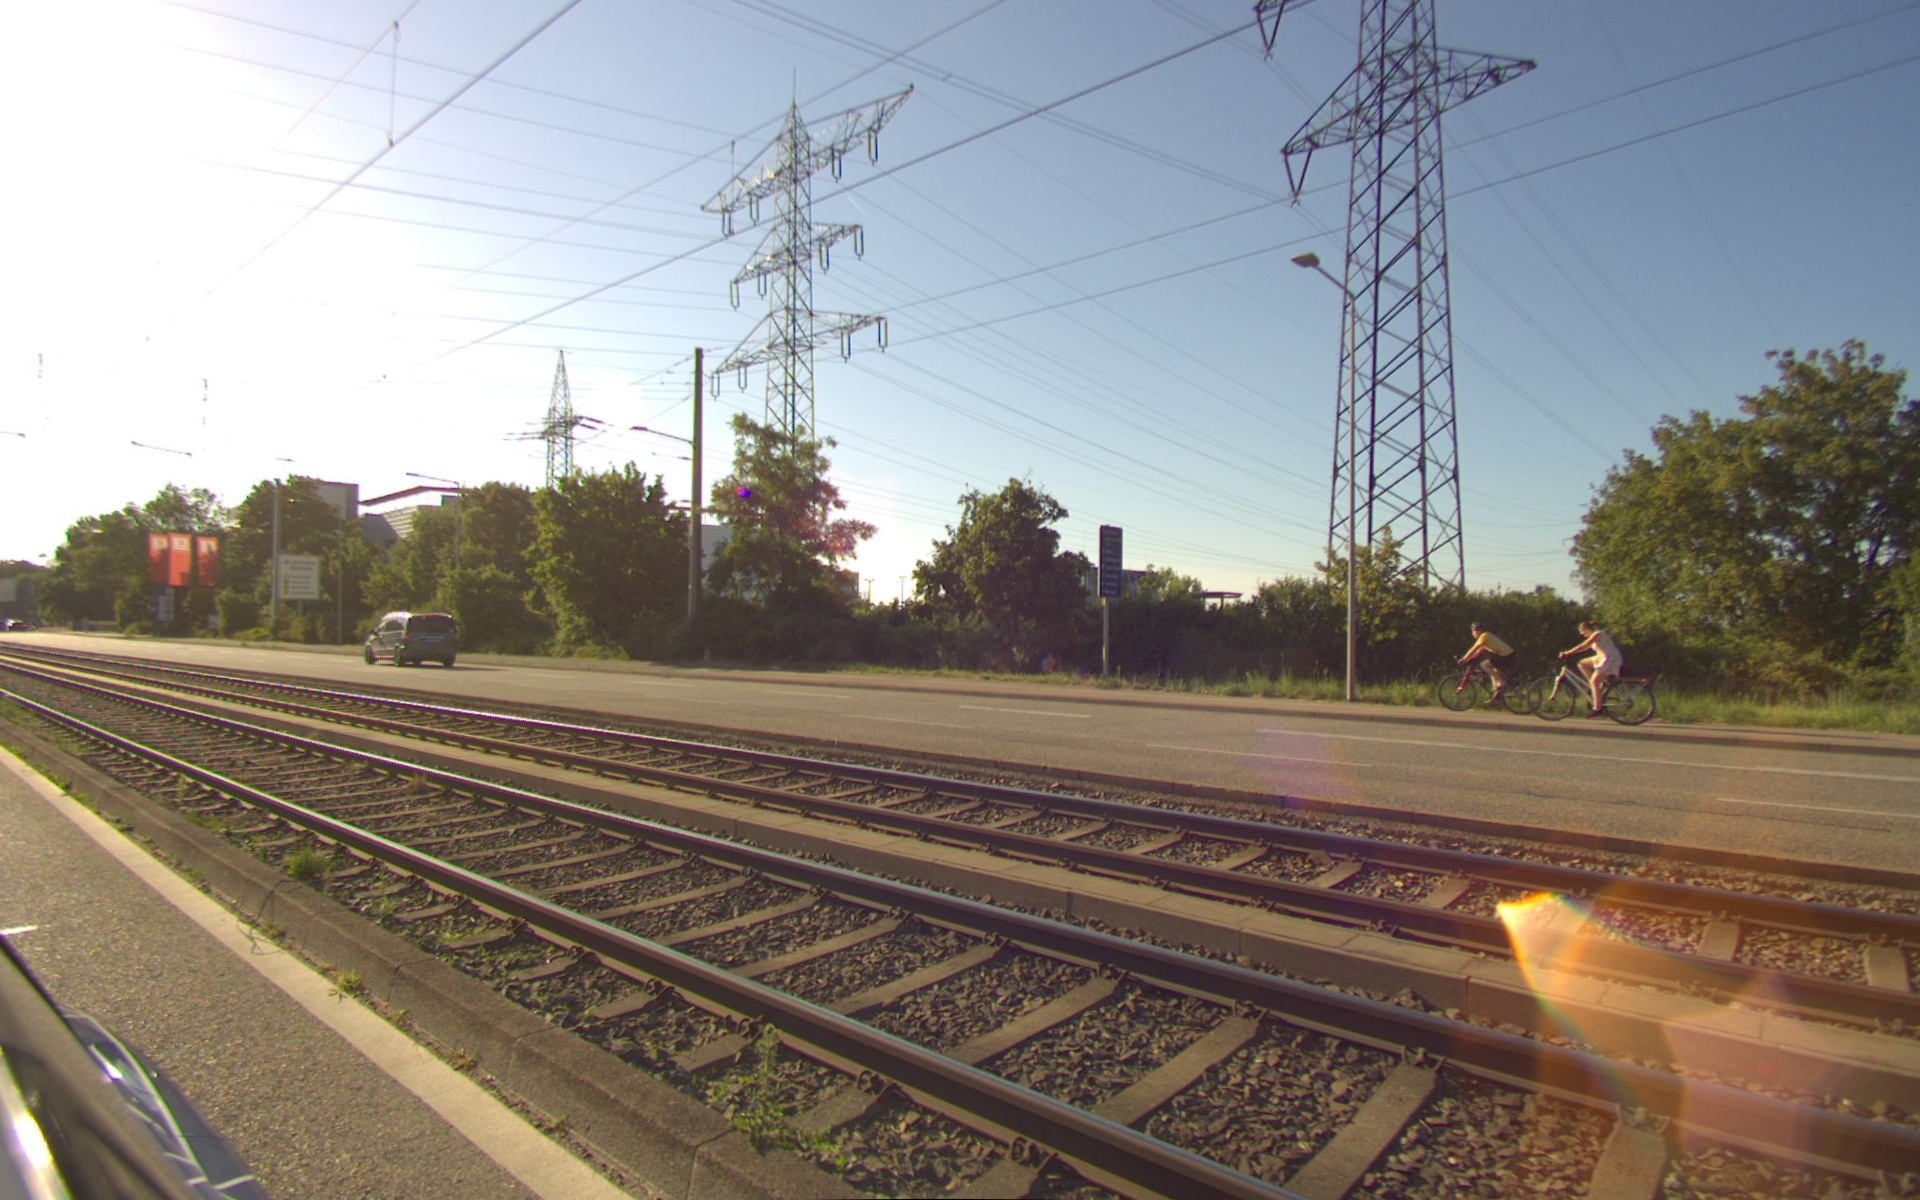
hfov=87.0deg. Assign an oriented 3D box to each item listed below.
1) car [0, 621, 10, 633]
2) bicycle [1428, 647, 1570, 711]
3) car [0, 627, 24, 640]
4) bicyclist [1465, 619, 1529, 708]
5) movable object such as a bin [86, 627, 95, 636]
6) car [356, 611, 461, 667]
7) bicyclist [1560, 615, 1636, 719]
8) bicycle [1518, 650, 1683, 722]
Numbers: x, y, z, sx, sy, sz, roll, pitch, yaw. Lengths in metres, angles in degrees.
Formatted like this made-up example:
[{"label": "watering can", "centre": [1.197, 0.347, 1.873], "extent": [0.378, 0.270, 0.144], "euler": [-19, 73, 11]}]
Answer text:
[{"label": "car", "centre": [-149.855, 4.174, 157.912], "extent": [4.349, 1.809, 1.972], "euler": [0, -2, 42]}, {"label": "bicycle", "centre": [9.685, 1.393, 18.258], "extent": [2.184, 1.029, 0.584], "euler": [0, -1, 41]}, {"label": "car", "centre": [-127.375, 4.484, 135.785], "extent": [4.679, 1.637, 1.973], "euler": [0, -2, 40]}, {"label": "bicyclist", "centre": [9.685, 1.124, 18.254], "extent": [0.905, 1.539, 0.584], "euler": [-1, -1, 41]}, {"label": "movable object such as a bin", "centre": [-97.231, 3.515, 113.110], "extent": [1.083, 0.973, 0.606], "euler": [0, 1, 42]}, {"label": "car", "centre": [-20.471, 1.470, 37.469], "extent": [4.860, 1.937, 1.972], "euler": [-3, -3, 43]}, {"label": "bicyclist", "centre": [10.284, 1.054, 16.314], "extent": [0.966, 1.623, 0.584], "euler": [-1, -1, 41]}, {"label": "bicycle", "centre": [10.283, 1.350, 16.315], "extent": [2.184, 1.029, 0.584], "euler": [0, -1, 41]}]
